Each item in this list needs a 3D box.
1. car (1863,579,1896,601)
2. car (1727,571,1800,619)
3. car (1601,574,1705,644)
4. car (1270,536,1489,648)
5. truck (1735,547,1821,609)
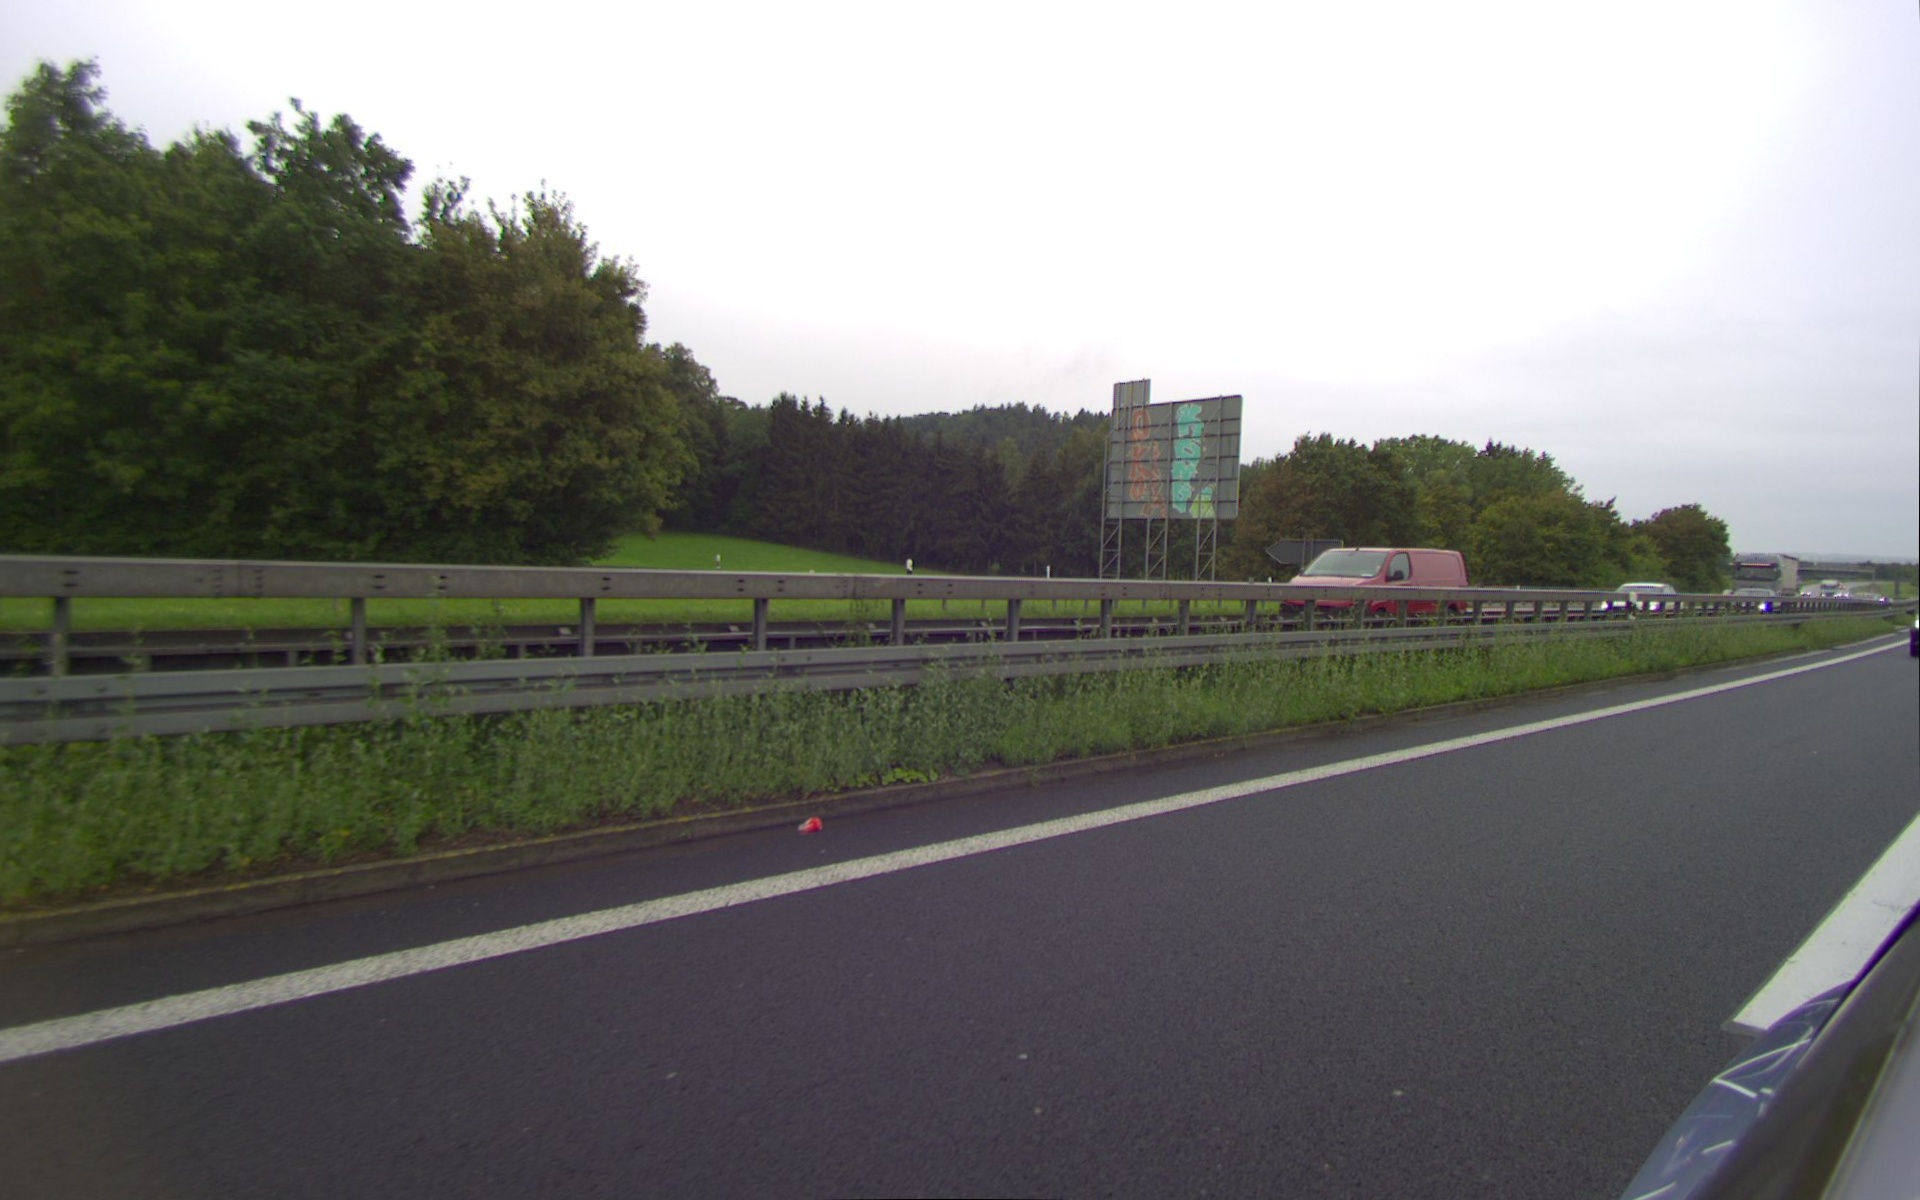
[{"bbox_3d":[88.608,-0.978,97.506,4.420,2.038,1.751,-1,2,-41],"label":"car"},{"bbox_3d":[36.179,-0.266,45.510,4.420,2.038,1.751,-1,2,-41],"label":"car"},{"bbox_3d":[22.181,0.225,32.321,4.422,2.038,1.750,-1,2,-43],"label":"car"},{"bbox_3d":[8.716,-0.205,20.803,4.988,2.038,2.128,-1,2,-41],"label":"car"},{"bbox_3d":[55.814,-1.527,68.967,9.853,3.949,2.797,-1,2,-41],"label":"truck"}]
